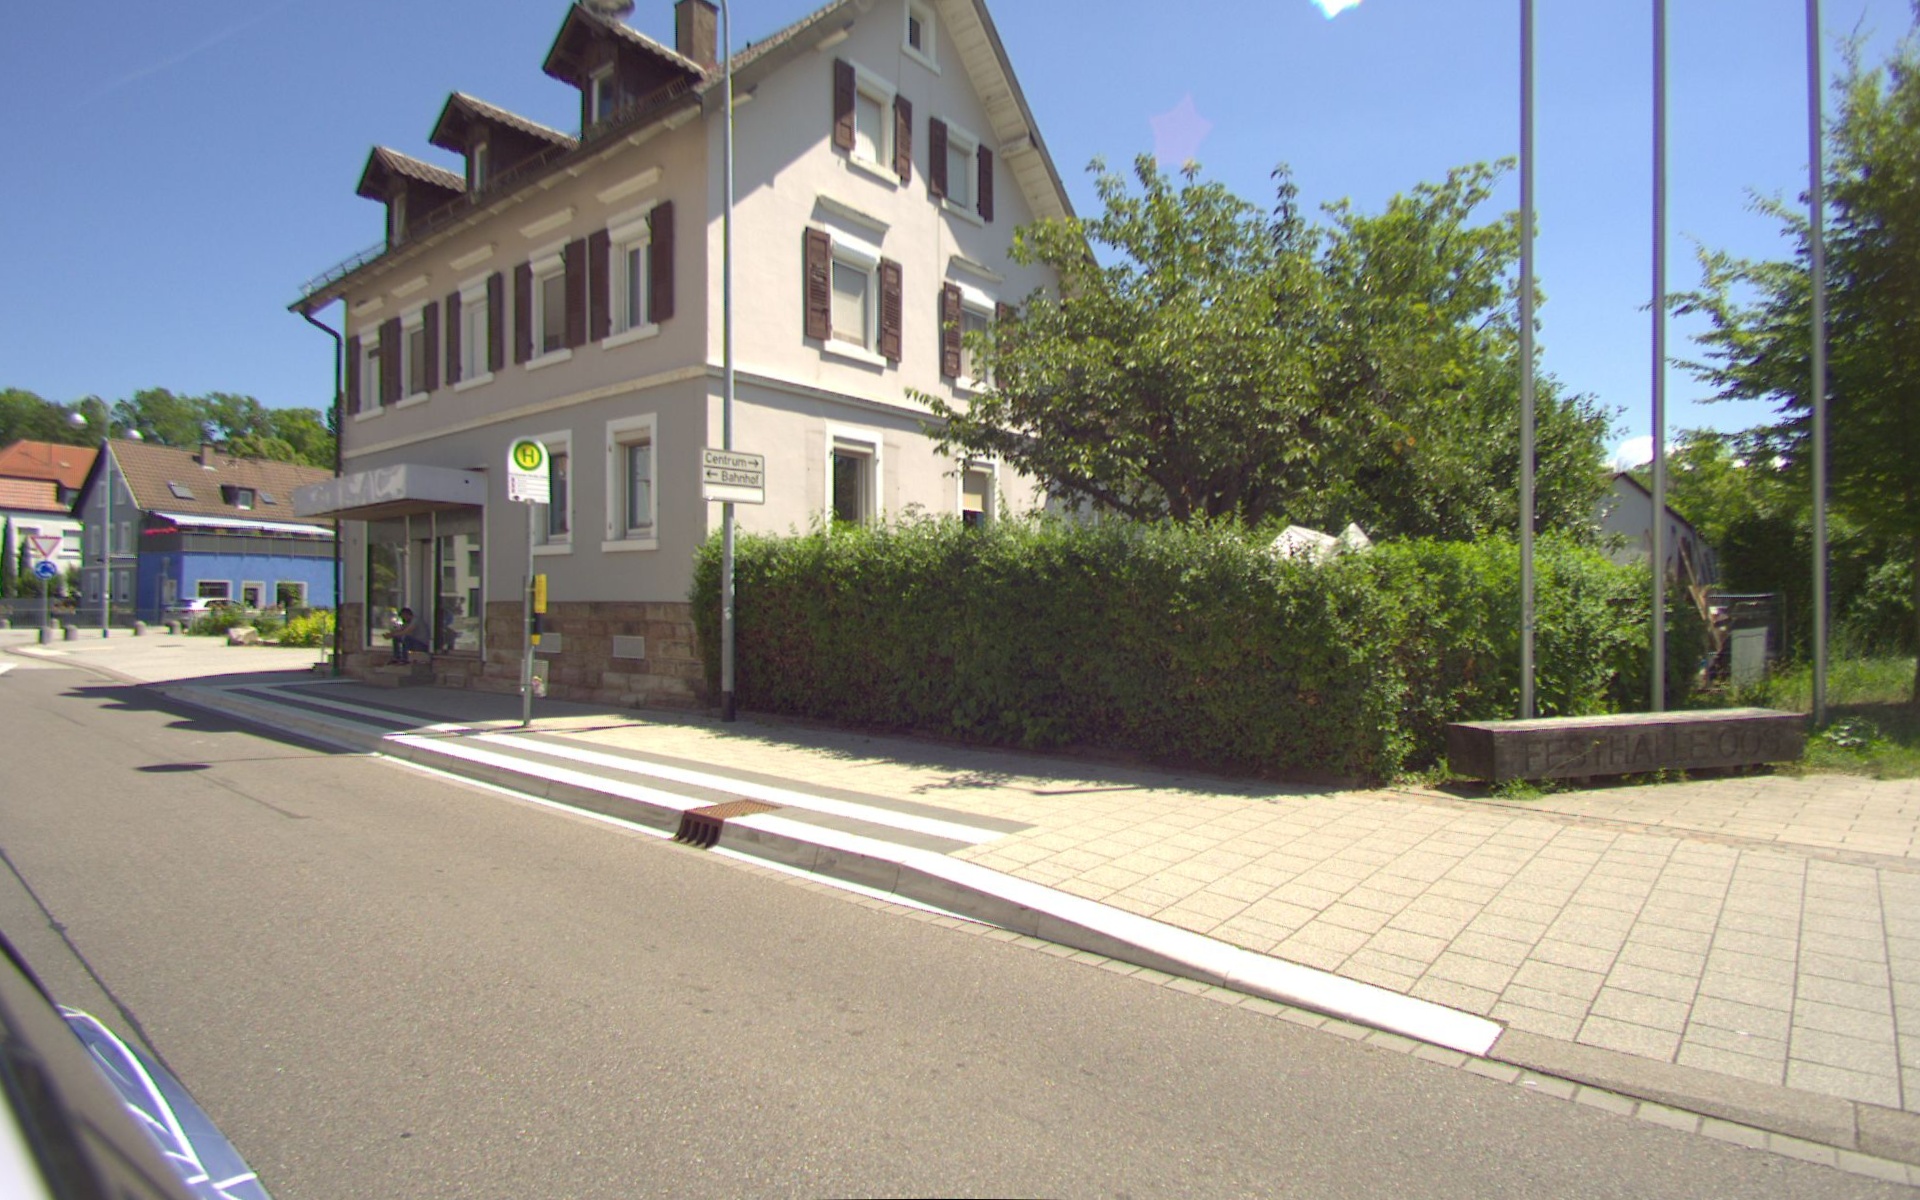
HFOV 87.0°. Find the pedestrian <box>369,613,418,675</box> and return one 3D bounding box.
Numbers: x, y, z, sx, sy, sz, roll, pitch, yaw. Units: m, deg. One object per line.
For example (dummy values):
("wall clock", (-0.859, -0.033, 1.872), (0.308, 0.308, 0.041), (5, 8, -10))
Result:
("pedestrian", (-9.978, 0.757, 17.830), (0.566, 1.067, 0.591), (-1, -1, 37))

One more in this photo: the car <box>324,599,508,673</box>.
("car", (-13.267, 0.828, 24.873), (1.599, 1.674, 3.678), (-1, -1, 36))

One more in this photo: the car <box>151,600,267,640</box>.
("car", (-33.881, 0.938, 45.768), (1.799, 1.620, 3.899), (2, -2, 14))
